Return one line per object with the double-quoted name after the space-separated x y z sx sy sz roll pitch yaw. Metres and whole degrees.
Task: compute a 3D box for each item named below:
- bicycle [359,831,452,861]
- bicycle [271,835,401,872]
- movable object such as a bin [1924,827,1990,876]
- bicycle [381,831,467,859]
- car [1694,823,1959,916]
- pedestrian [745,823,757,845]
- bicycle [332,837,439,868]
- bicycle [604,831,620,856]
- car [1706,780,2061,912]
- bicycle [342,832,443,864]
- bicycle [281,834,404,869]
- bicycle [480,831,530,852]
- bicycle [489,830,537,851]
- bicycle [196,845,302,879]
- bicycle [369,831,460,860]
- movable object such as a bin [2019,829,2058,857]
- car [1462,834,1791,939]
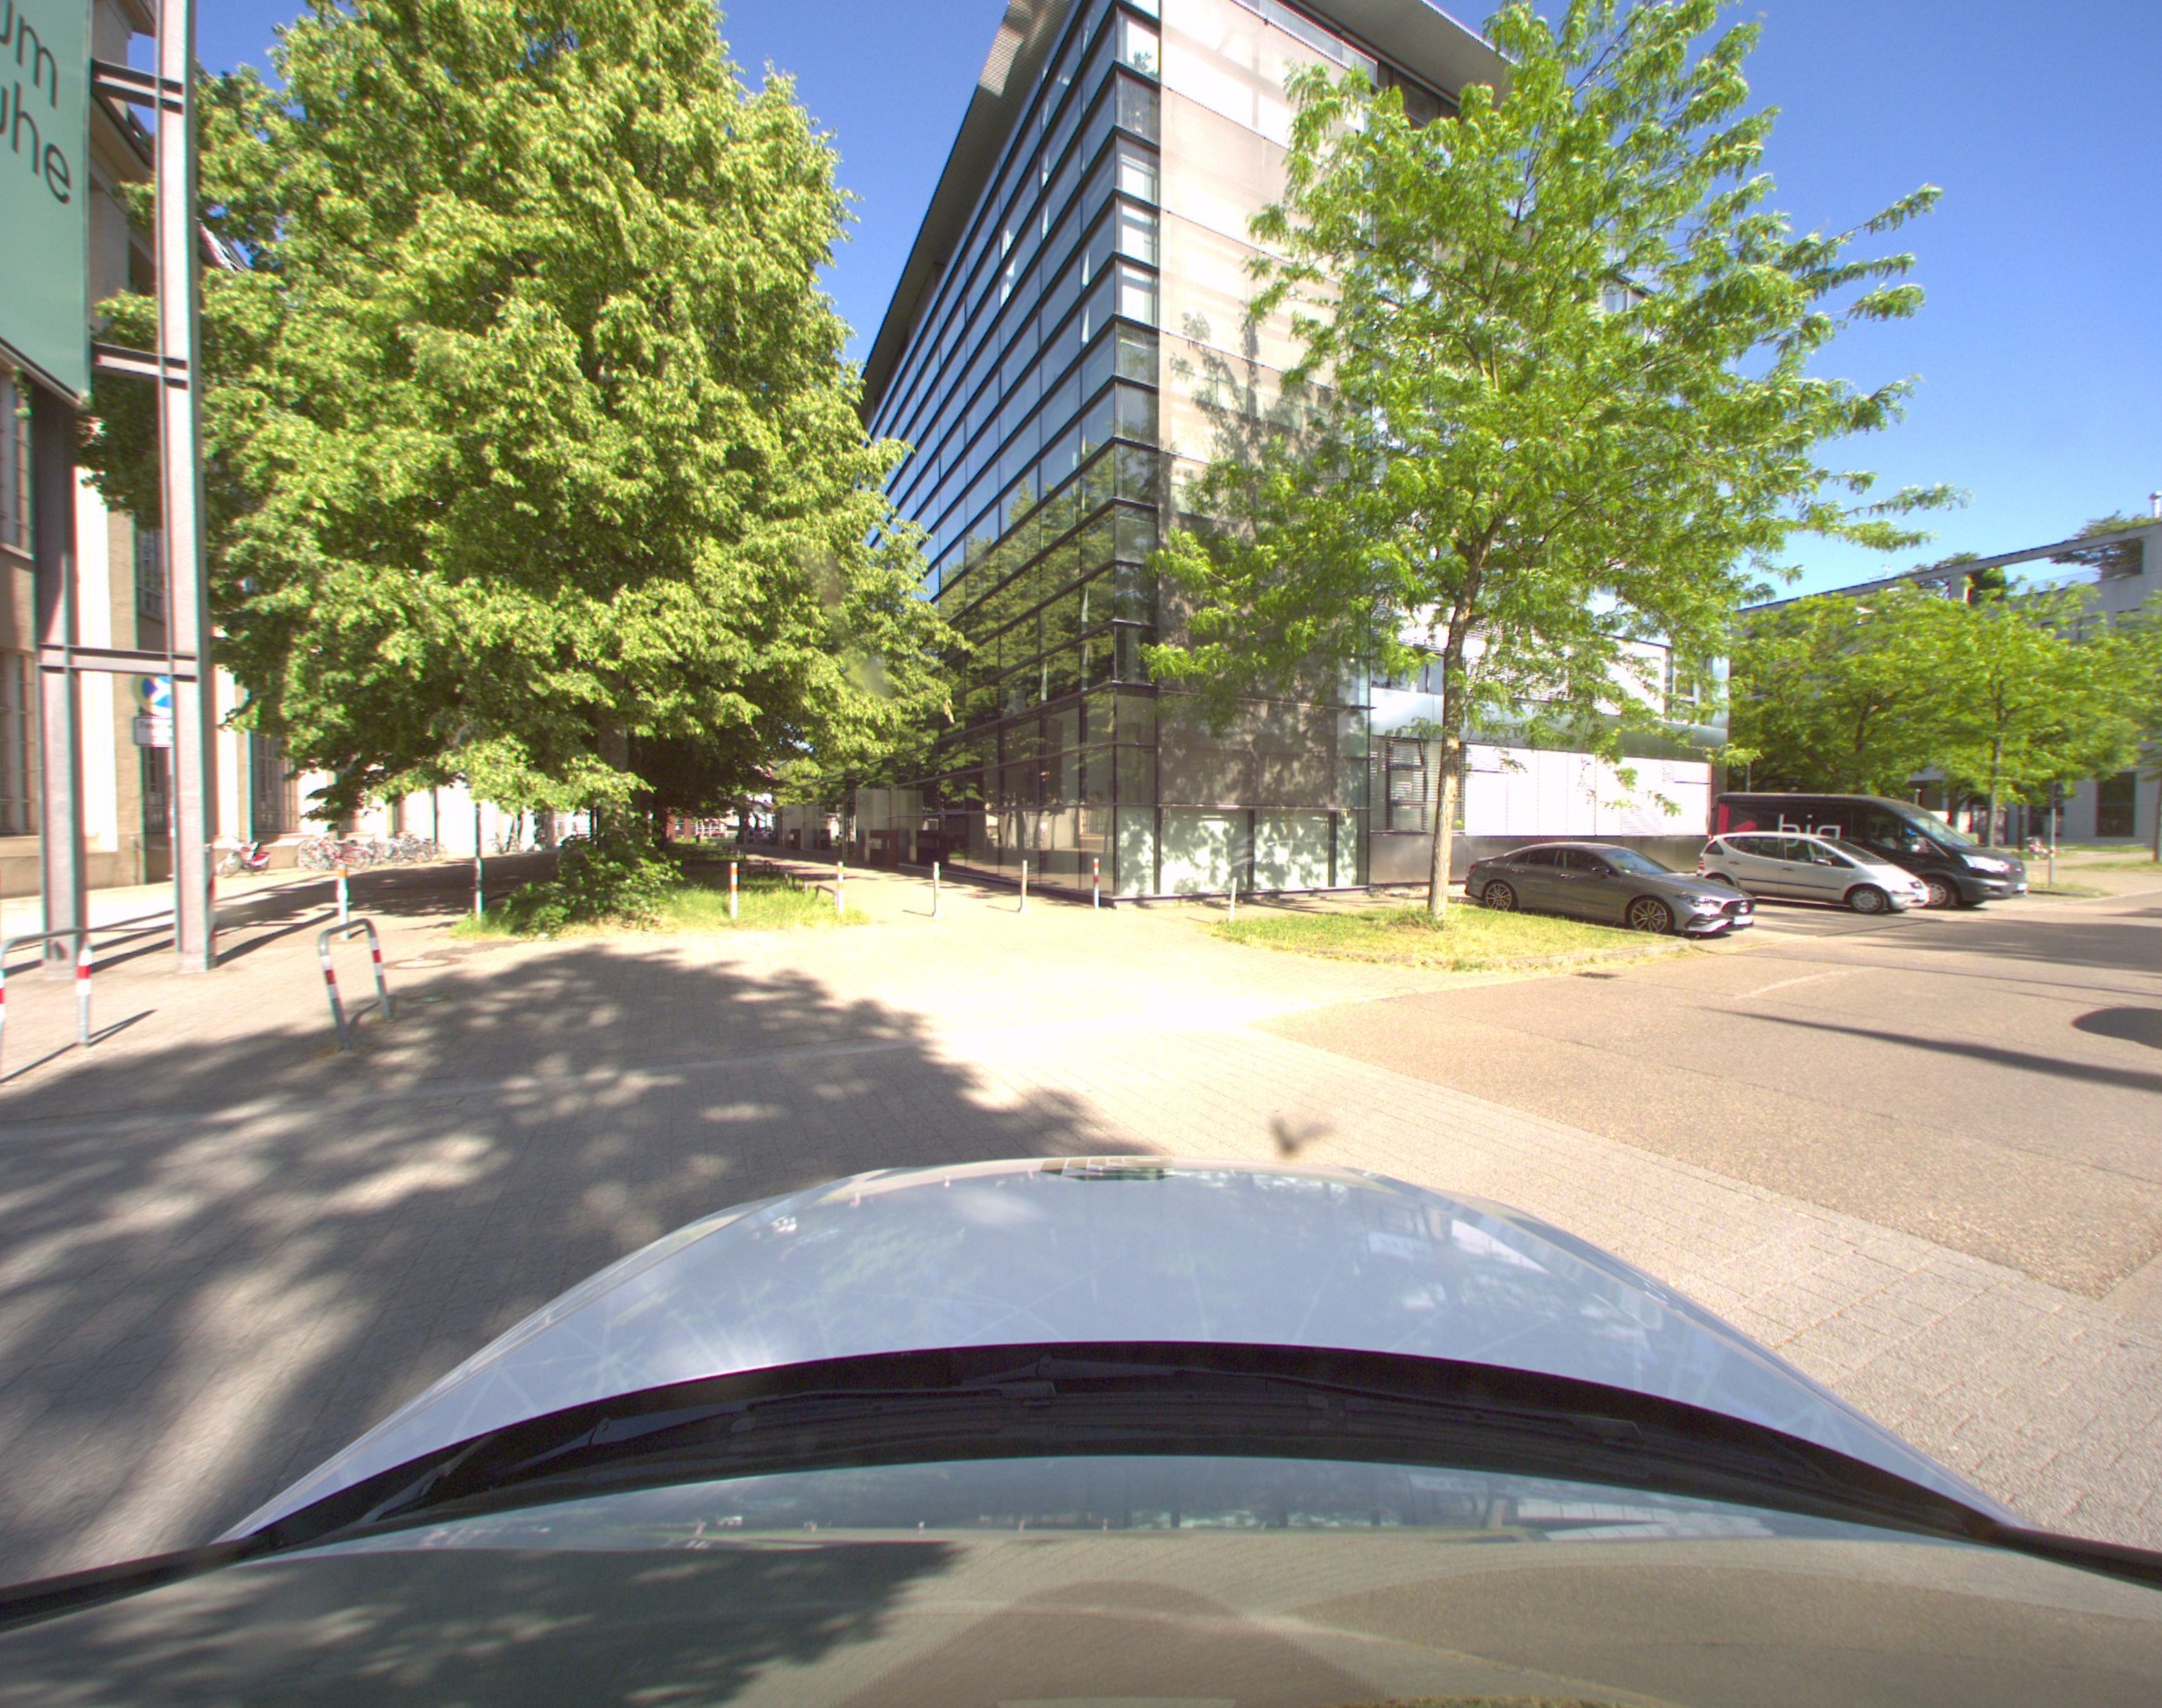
-26.686 -0.322 32.255 2.749 1.150 0.712 -1 2 -31 "bicycle"
-22.786 -0.032 25.000 2.819 1.063 0.712 -1 2 -31 "bicycle"
26.226 -0.093 24.426 1.235 1.413 1.282 -2 3 -44 "movable object such as a bin"
-27.864 -0.390 34.596 2.749 1.150 0.712 -1 2 -31 "bicycle"
16.145 0.231 17.868 1.897 1.644 3.811 0 4 -28 "car"
-23.392 -1.450 57.746 0.719 1.550 0.685 0 2 -20 "pedestrian"
-24.742 -0.085 29.051 2.819 1.063 0.712 -1 2 -31 "bicycle"
-23.229 -0.544 40.357 0.623 1.196 2.111 -1 2 -31 "bicycle"
18.422 -0.333 19.130 2.237 2.621 5.425 -1 4 -28 "car"
-26.021 -0.249 30.855 2.819 1.150 0.712 -1 2 -31 "bicycle"
-23.773 -0.103 26.290 2.815 1.063 0.712 -1 2 -27 "bicycle"
-30.385 -0.676 42.983 2.067 1.066 0.502 -1 2 -25 "bicycle"
-30.475 -0.734 43.724 2.067 1.066 0.502 -1 2 -25 "bicycle"
-22.587 0.186 22.214 0.780 0.792 2.867 0 2 -18 "bicycle"
-26.955 -0.352 32.996 2.749 1.150 0.712 -1 2 -31 "bicycle"
42.449 -0.490 36.114 1.939 1.181 0.659 -1 2 -27 "movable object such as a bin"
9.454 0.430 14.592 1.896 1.350 4.512 0 4 -27 "car"
